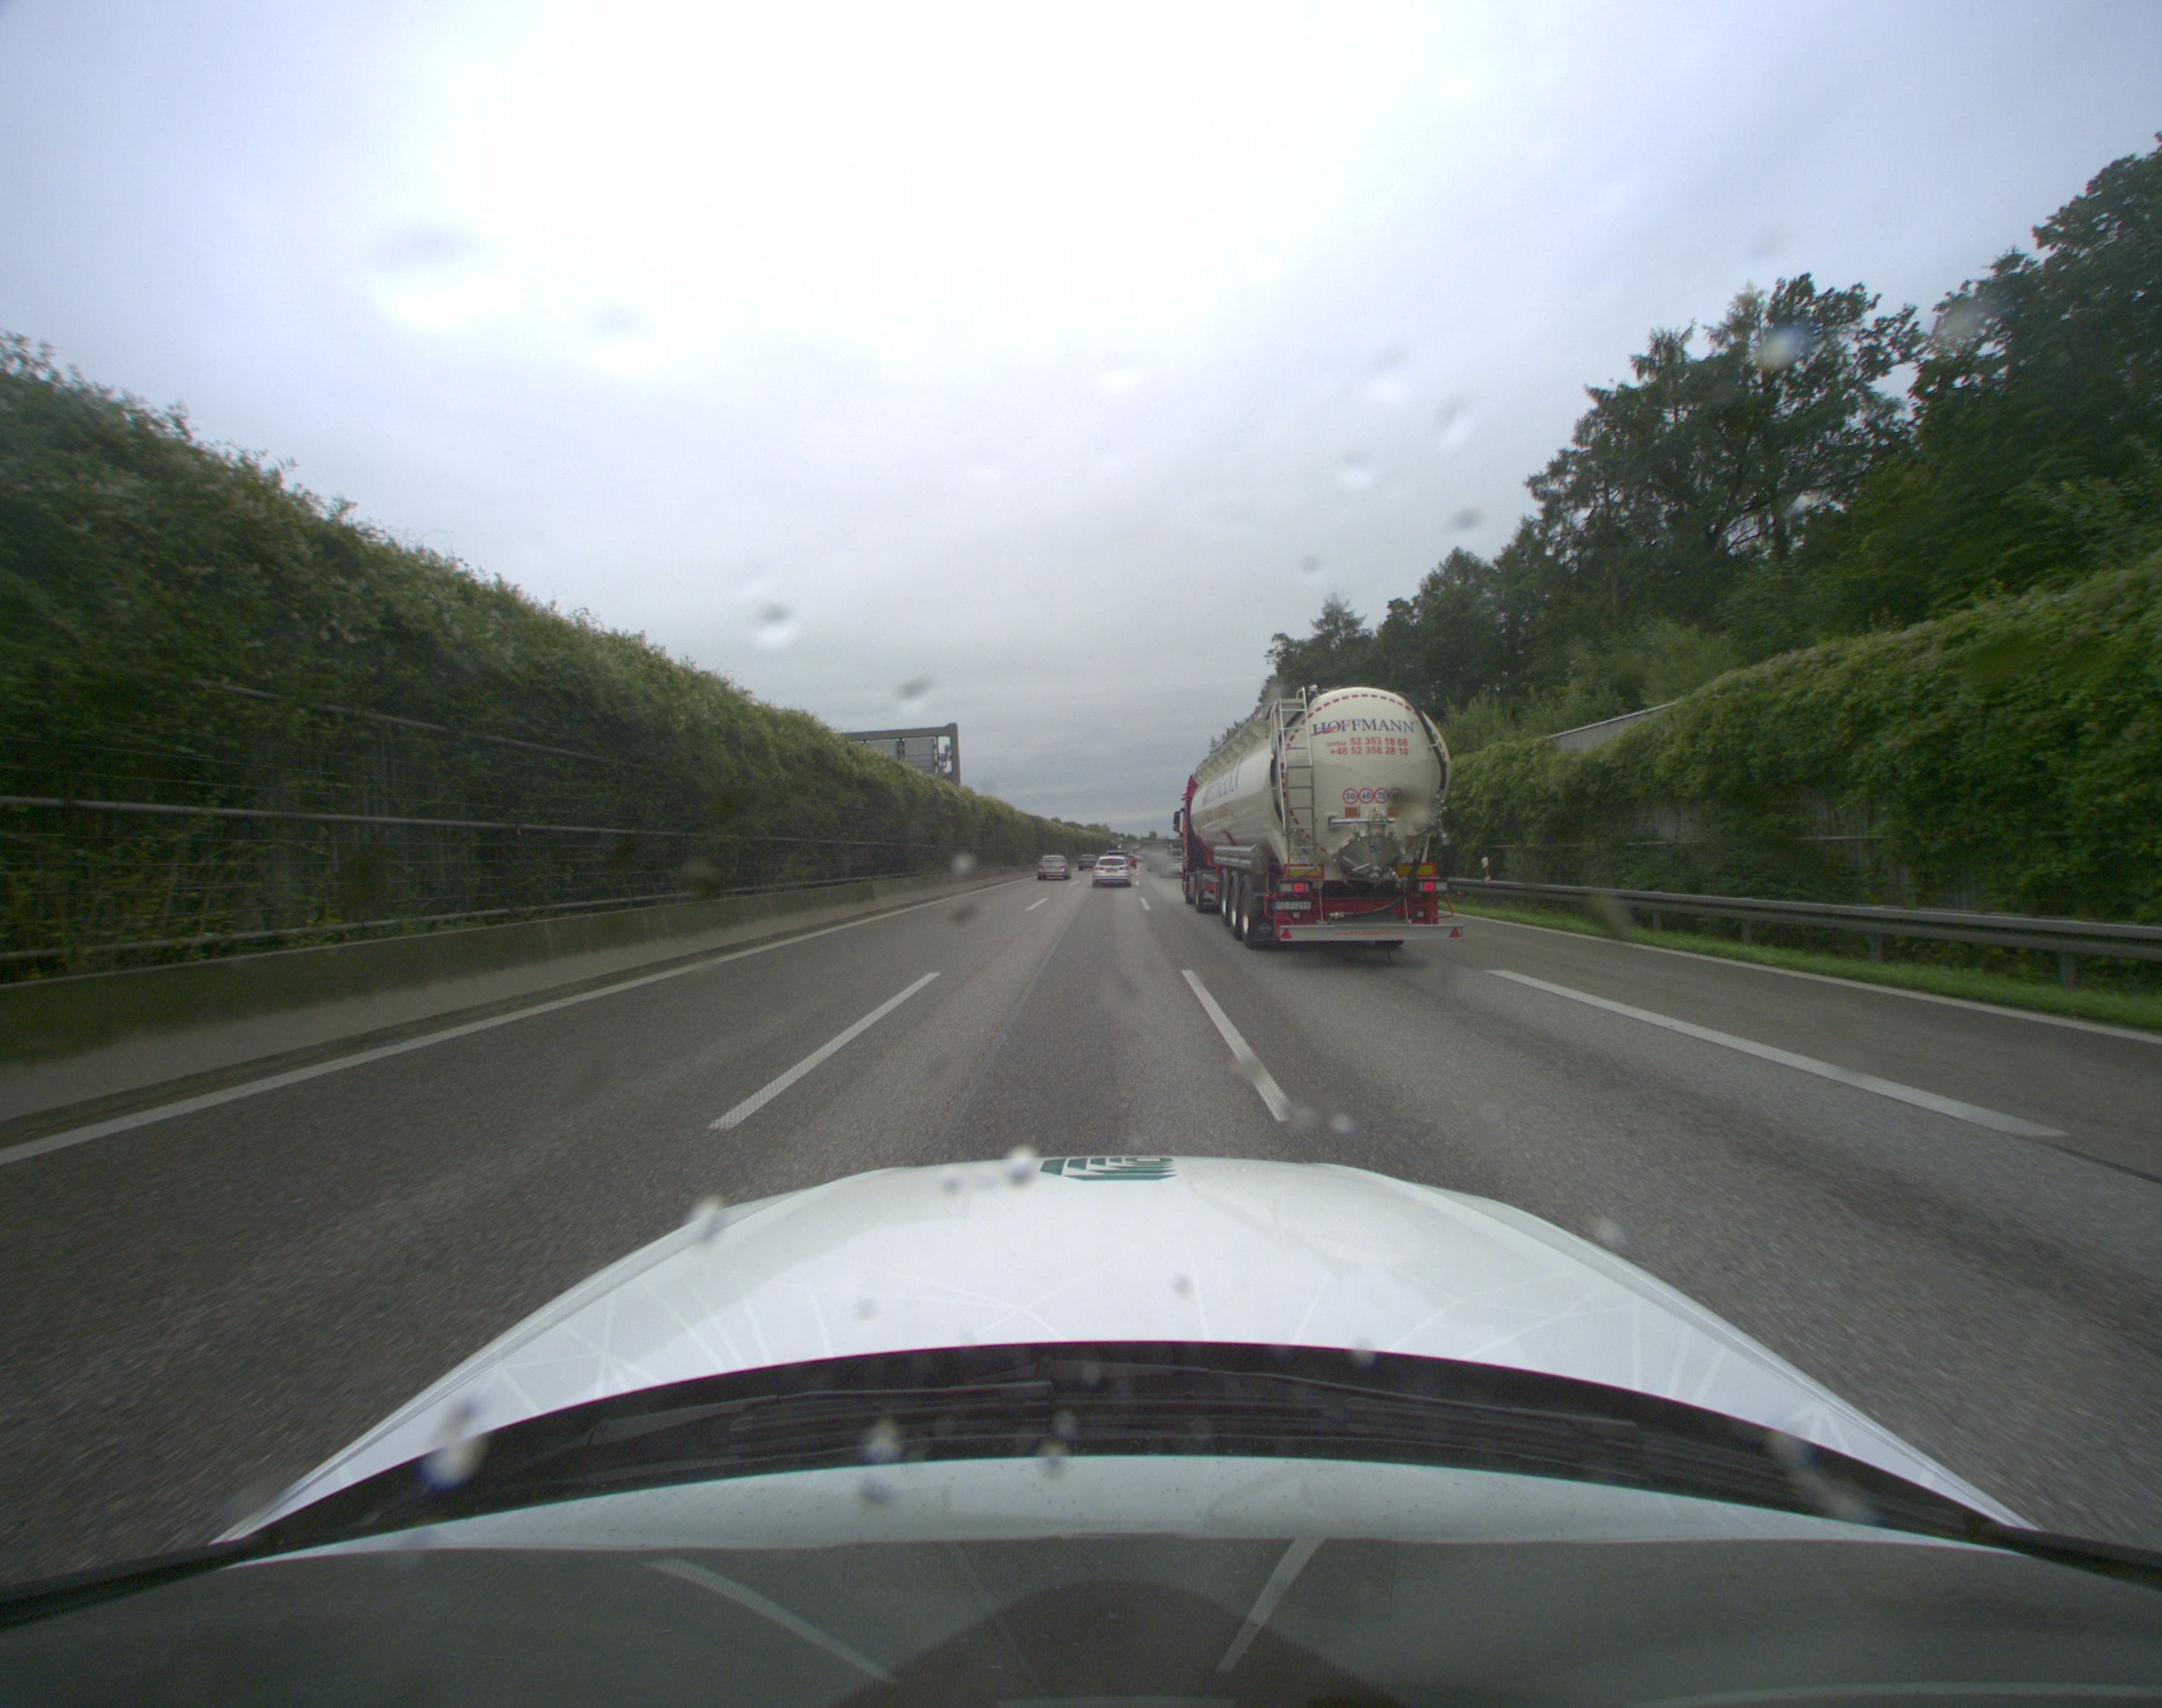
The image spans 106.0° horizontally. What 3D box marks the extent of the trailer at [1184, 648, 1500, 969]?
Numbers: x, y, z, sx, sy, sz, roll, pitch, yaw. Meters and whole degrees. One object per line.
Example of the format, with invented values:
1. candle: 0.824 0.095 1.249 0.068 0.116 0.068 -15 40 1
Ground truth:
1. trailer: 4.072 -0.519 16.695 2.658 3.939 13.136 -1 -1 2

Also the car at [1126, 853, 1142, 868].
1. car: 5.522 0.636 84.777 1.681 1.506 3.875 -1 0 4

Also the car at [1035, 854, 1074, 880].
1. car: -1.595 0.789 50.323 1.711 1.469 5.038 -1 -1 6

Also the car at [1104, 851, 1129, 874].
1. car: 2.546 0.576 58.959 1.682 1.506 3.873 3 1 2

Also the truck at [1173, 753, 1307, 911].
1. truck: 4.355 -0.532 23.669 2.685 3.912 6.558 -1 -1 1

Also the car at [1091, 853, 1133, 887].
1. car: 1.575 0.730 39.752 1.883 1.504 5.035 -1 0 4

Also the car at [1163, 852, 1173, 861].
1. car: 15.561 0.502 145.807 1.681 1.539 3.876 -1 0 4

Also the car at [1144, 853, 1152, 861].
1. car: 13.437 0.560 163.100 1.681 1.539 3.877 -1 0 5

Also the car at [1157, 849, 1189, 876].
1. car: 5.911 0.548 52.632 1.808 1.625 5.035 -1 0 4

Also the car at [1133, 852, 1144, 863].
1. car: 9.465 0.538 133.535 1.782 1.779 3.875 -2 0 4

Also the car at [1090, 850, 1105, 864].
1. car: 2.356 0.430 117.807 1.987 2.013 3.841 -2 0 0

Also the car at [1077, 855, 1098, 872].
1. car: 0.635 0.841 76.899 1.712 1.512 5.035 -1 0 4

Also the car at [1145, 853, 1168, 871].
1. car: 6.538 0.670 70.584 1.683 1.506 3.871 -1 -1 1
